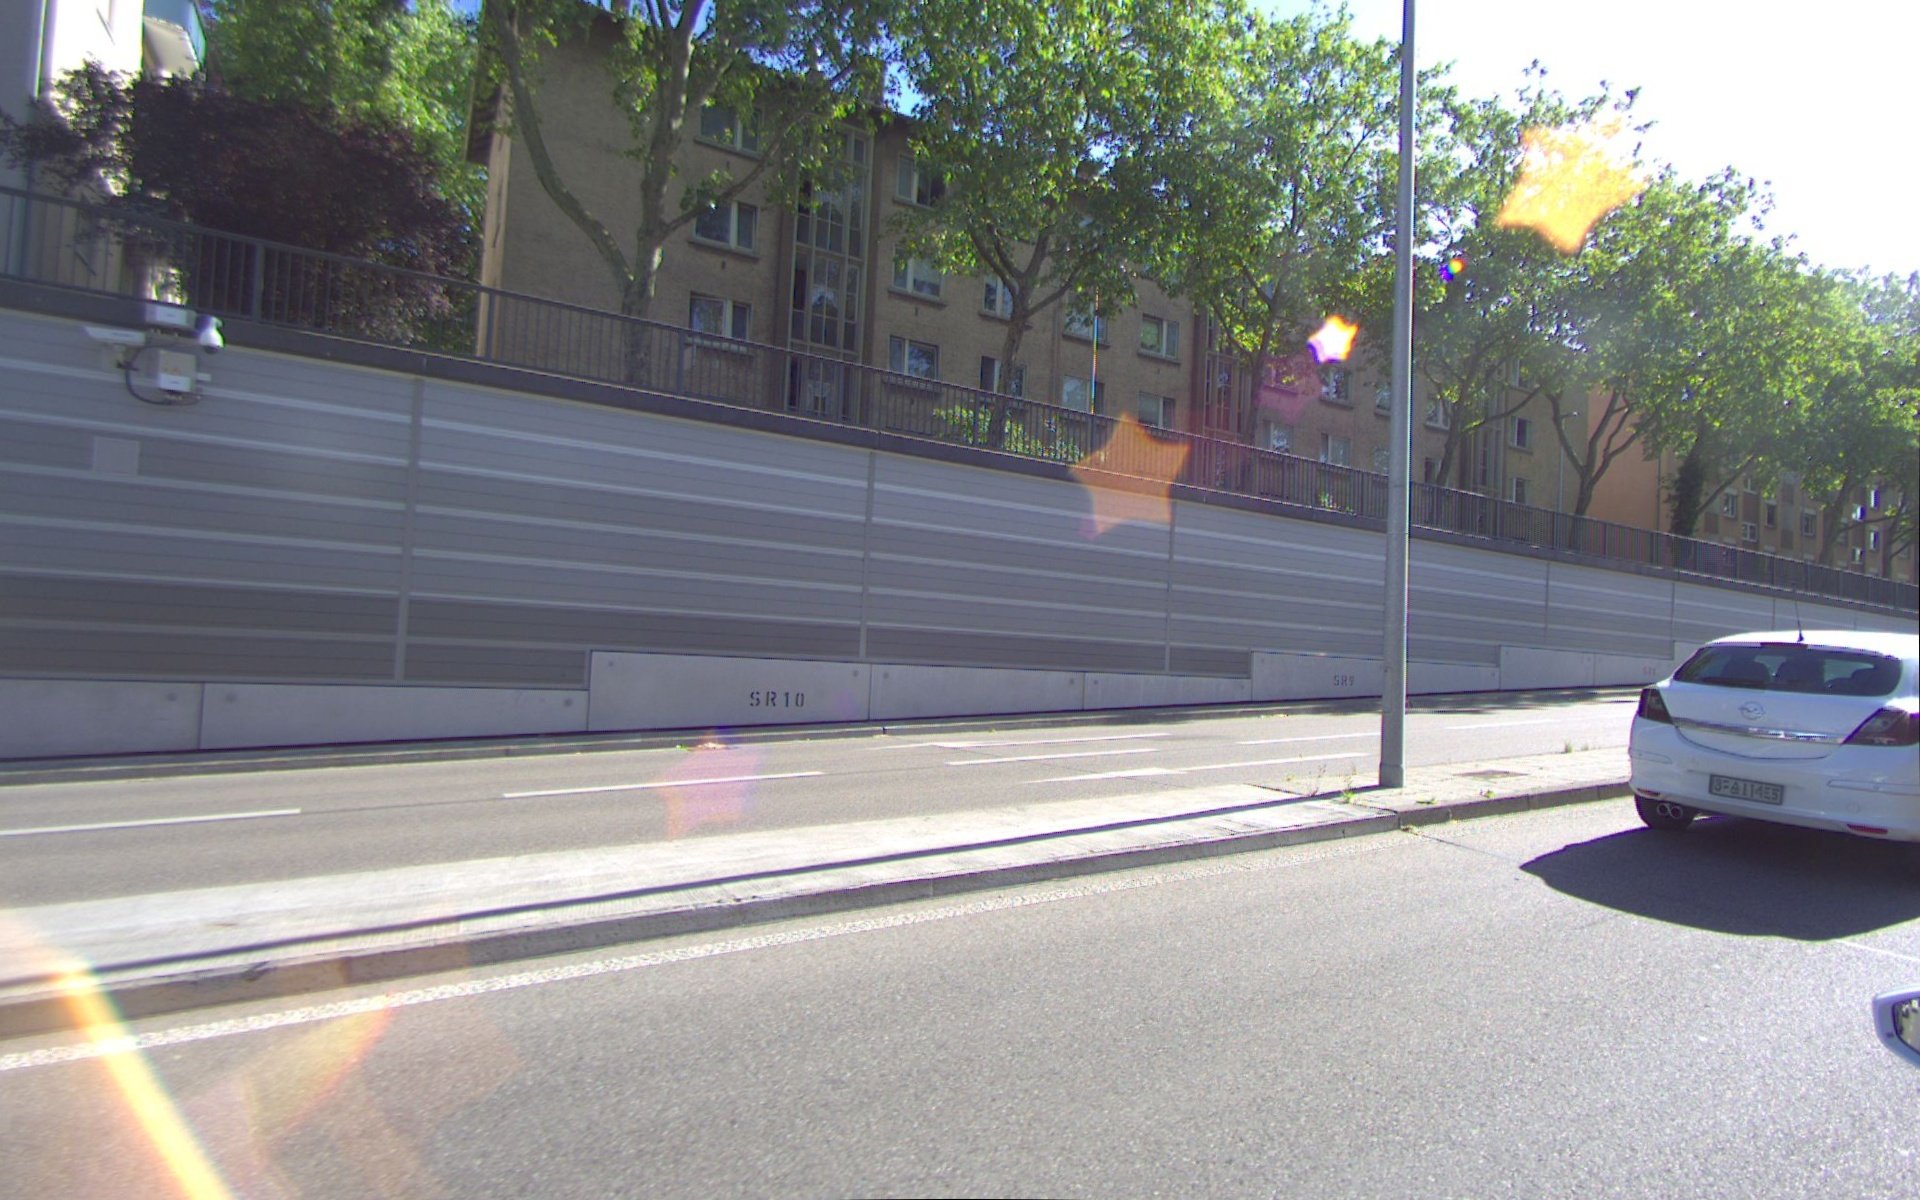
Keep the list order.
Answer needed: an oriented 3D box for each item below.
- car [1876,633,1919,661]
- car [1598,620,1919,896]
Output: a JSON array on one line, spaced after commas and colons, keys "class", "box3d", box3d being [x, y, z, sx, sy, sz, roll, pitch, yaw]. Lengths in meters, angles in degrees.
[{"class": "car", "box3d": [54.360, 2.718, 57.317, 4.124, 1.407, 1.984, 4, -1, -30]}, {"class": "car", "box3d": [6.319, 0.918, 6.992, 3.807, 1.422, 1.611, 2, -1, -31]}]
